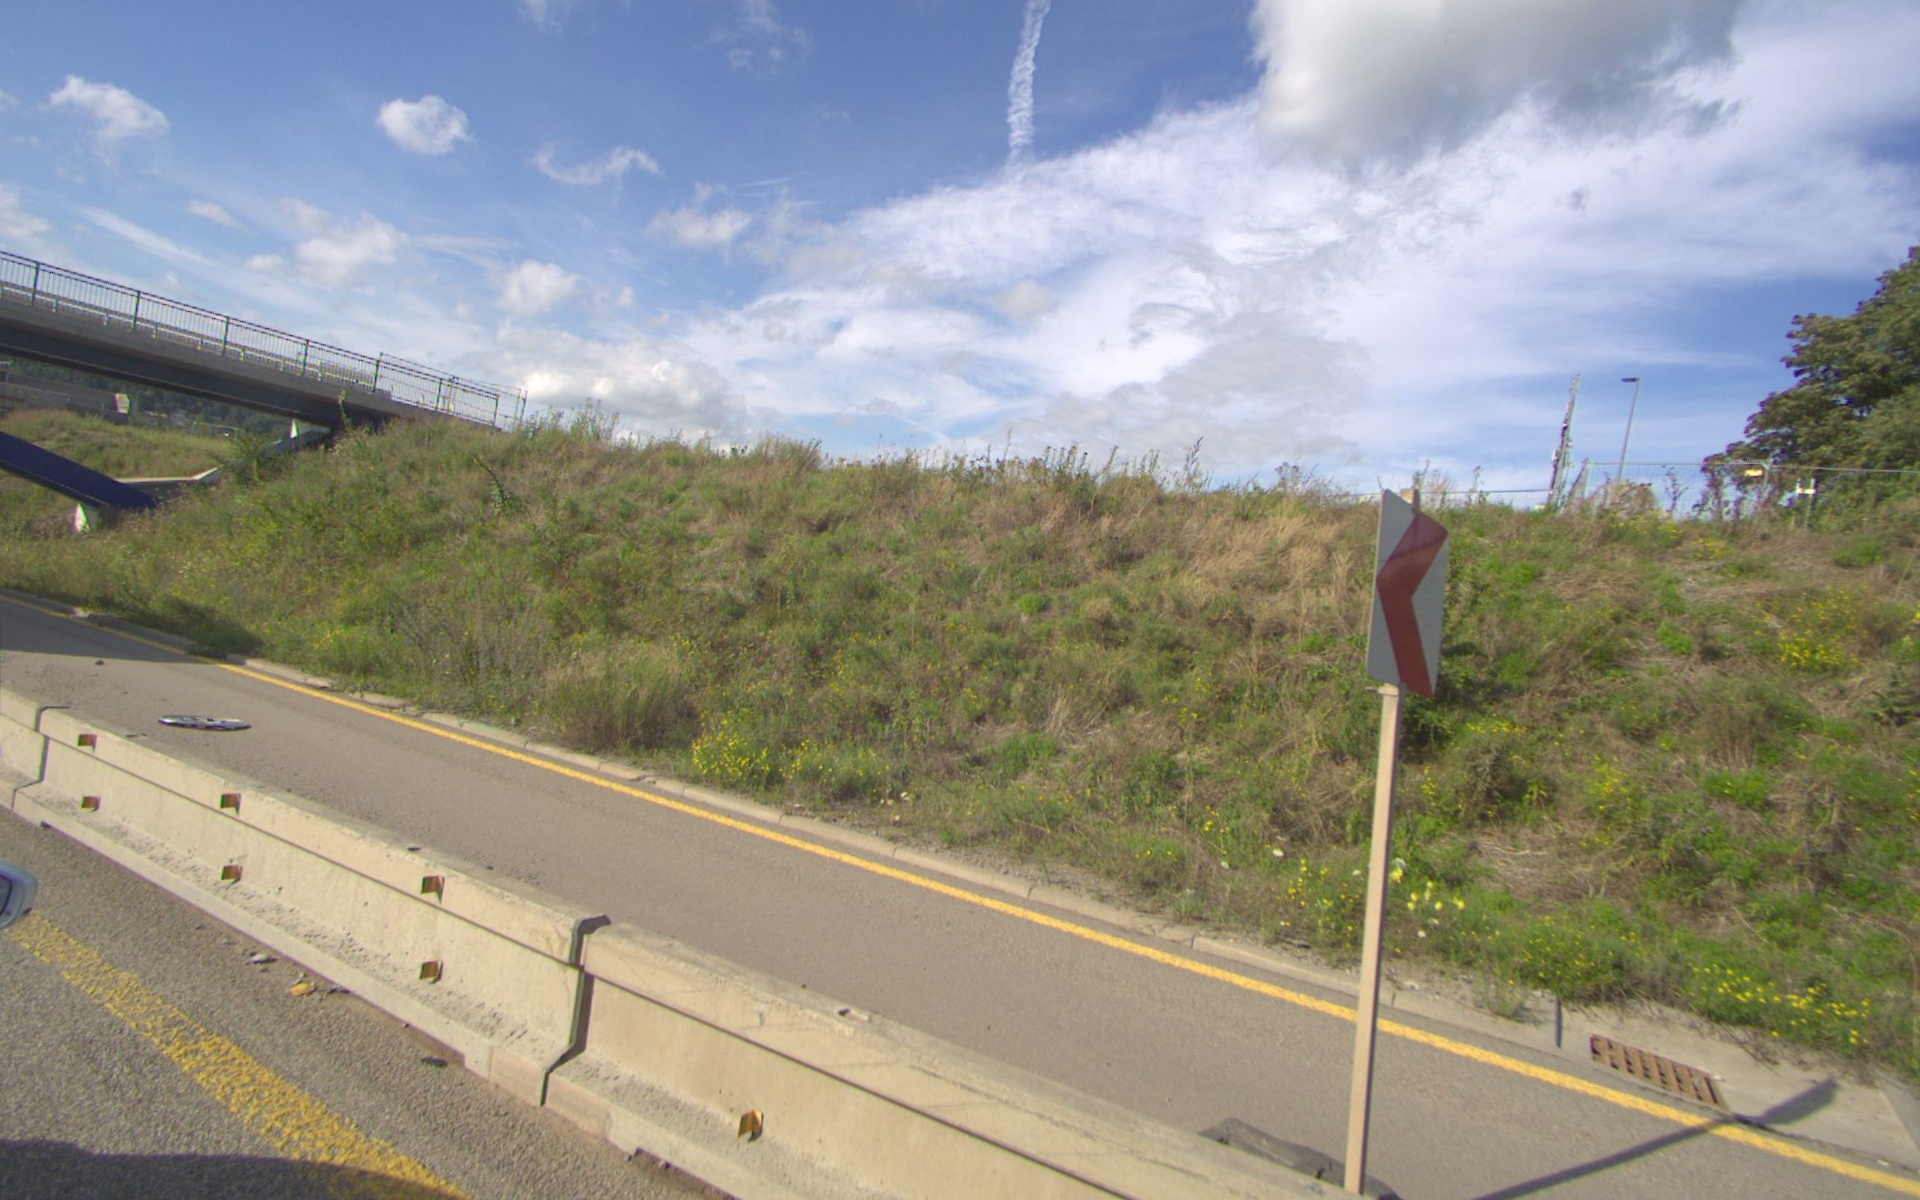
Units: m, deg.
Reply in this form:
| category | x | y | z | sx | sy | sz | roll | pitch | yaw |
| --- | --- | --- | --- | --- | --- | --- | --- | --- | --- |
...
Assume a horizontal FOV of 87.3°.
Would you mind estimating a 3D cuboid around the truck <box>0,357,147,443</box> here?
| category | x | y | z | sx | sy | sz | roll | pitch | yaw |
| --- | --- | --- | --- | --- | --- | --- | --- | --- | --- |
| truck | -52.407 | -11.529 | 56.962 | 2.912 | 3.266 | 9.275 | 7 | -1 | 33 |
